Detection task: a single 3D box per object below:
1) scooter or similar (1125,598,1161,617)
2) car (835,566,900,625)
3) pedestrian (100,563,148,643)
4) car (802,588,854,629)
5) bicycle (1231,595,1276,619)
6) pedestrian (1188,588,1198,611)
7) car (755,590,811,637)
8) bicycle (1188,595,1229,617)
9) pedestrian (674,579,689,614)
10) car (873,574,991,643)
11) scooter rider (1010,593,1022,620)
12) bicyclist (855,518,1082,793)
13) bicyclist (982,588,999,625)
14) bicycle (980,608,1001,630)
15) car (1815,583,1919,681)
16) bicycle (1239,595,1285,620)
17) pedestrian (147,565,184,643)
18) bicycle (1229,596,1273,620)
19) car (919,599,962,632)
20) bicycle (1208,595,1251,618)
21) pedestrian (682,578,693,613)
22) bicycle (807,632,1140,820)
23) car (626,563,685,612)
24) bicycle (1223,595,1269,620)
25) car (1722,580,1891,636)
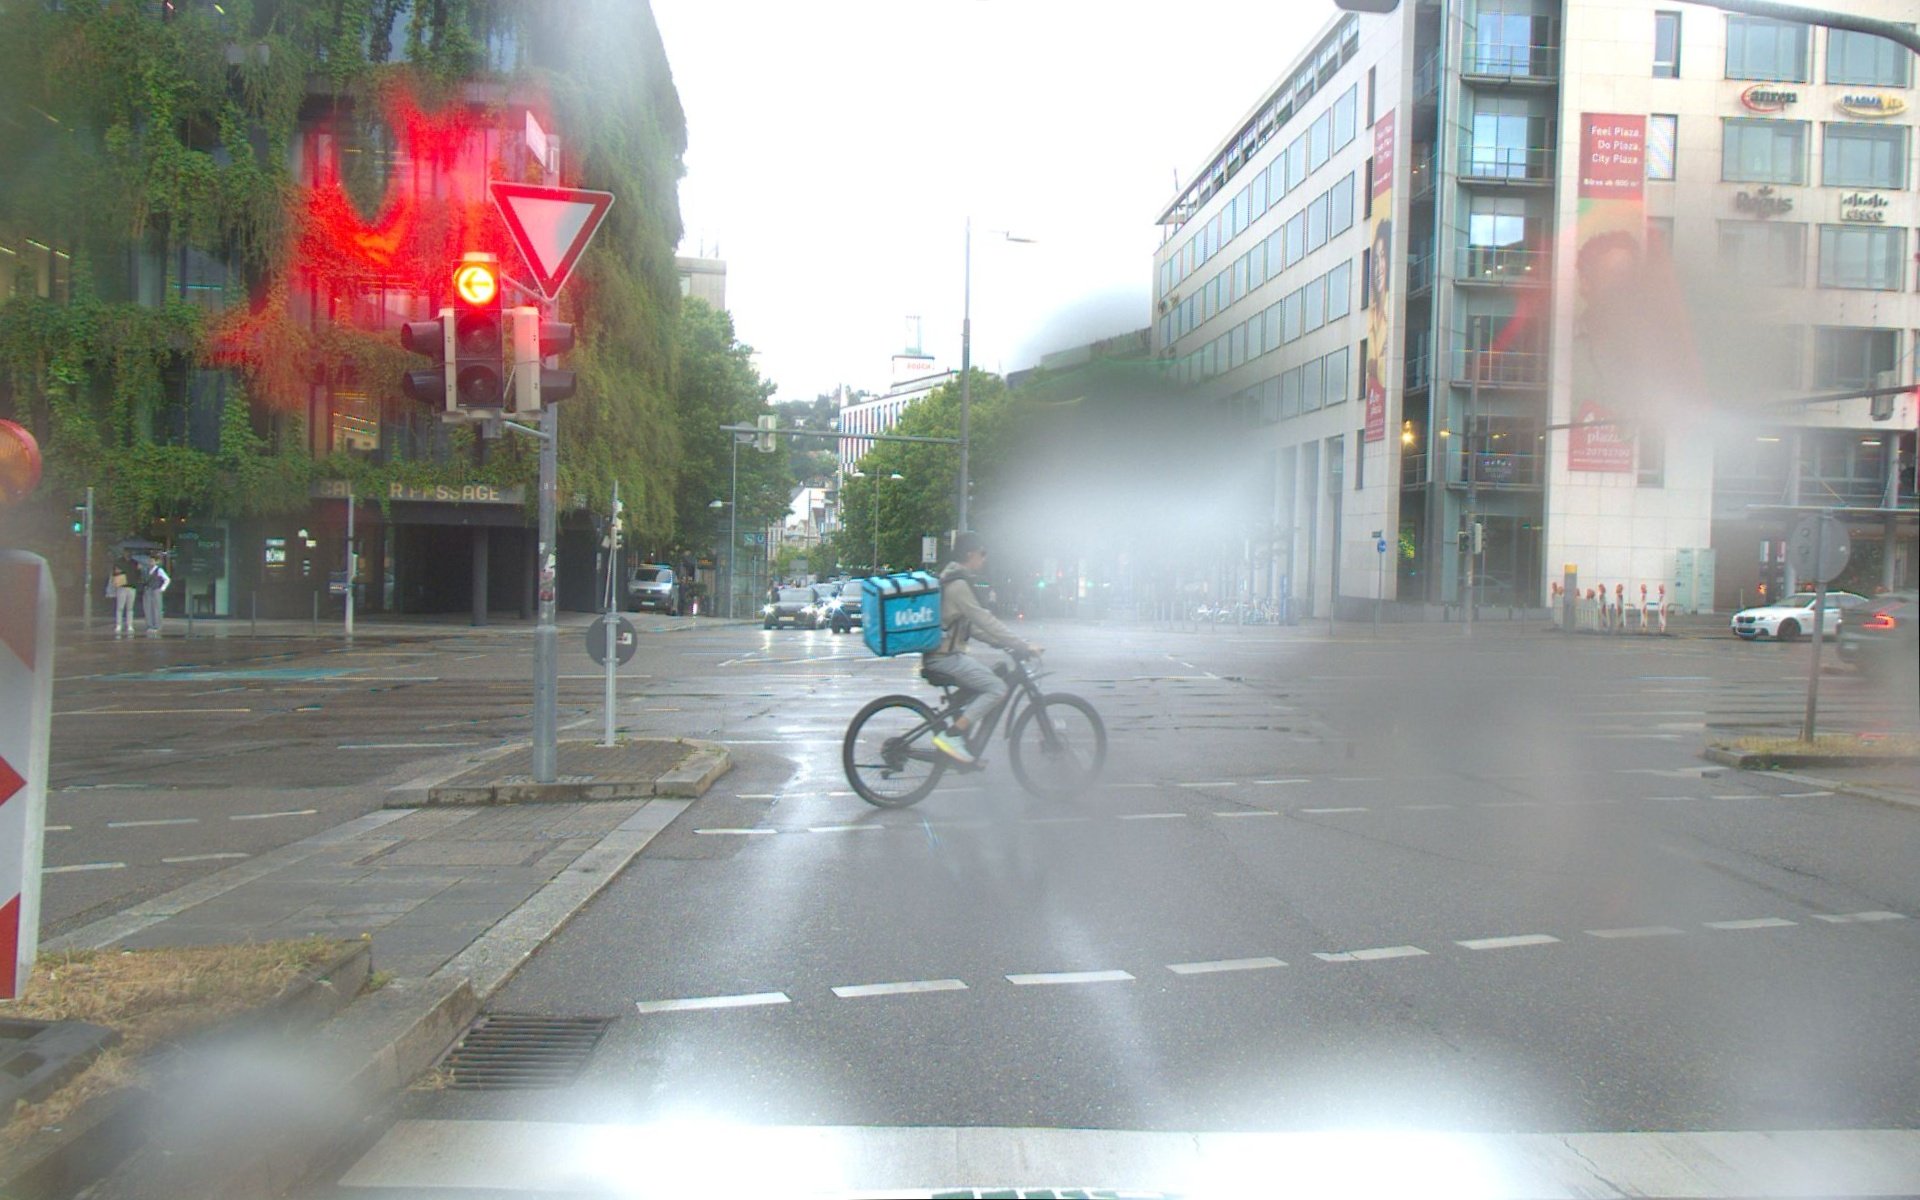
[{"bbox_3d":[8.849,0.366,80.052,1.720,0.894,0.486,0,0,-20],"label":"scooter or similar"},{"bbox_3d":[-2.870,-0.164,50.873,1.925,1.684,4.361,0,2,-4],"label":"car"},{"bbox_3d":[-19.225,0.062,38.066,0.923,1.788,1.163,0,0,-24],"label":"pedestrian"},{"bbox_3d":[-5.155,0.308,64.316,1.821,1.473,4.614,0,1,-7],"label":"car"},{"bbox_3d":[11.716,0.270,66.096,1.767,0.950,0.473,1,0,41],"label":"bicycle"},{"bbox_3d":[11.976,-0.016,85.049,0.347,1.194,0.413,0,0,-15],"label":"pedestrian"},{"bbox_3d":[-6.144,0.426,56.964,1.821,1.473,4.614,0,1,-7],"label":"car"},{"bbox_3d":[10.955,0.274,73.005,1.757,0.950,0.475,0,0,2],"label":"bicycle"},{"bbox_3d":[-12.410,-0.155,73.645,0.595,1.550,0.587,0,0,-5],"label":"pedestrian"},{"bbox_3d":[-0.749,0.154,40.678,1.960,1.512,4.448,0,2,-14],"label":"car"},{"bbox_3d":[3.772,0.415,111.576,0.746,1.805,0.796,0,0,5],"label":"scooter rider"},{"bbox_3d":[0.051,0.345,11.110,1.280,1.733,0.840,0,0,-29],"label":"bicyclist"},{"bbox_3d":[1.655,0.345,89.519,0.776,2.009,1.112,1,0,-7],"label":"bicyclist"},{"bbox_3d":[1.645,1.027,89.516,0.776,1.136,2.251,1,0,-8],"label":"bicycle"},{"bbox_3d":[17.019,0.520,27.627,4.444,1.577,2.002,1,0,7],"label":"car"},{"bbox_3d":[11.890,0.273,65.132,1.767,0.950,0.473,1,0,41],"label":"bicycle"},{"bbox_3d":[-18.463,0.084,38.426,0.731,1.788,0.969,0,0,-24],"label":"pedestrian"},{"bbox_3d":[11.741,0.306,66.841,1.767,0.950,0.473,1,0,41],"label":"bicycle"},{"bbox_3d":[-1.070,0.815,88.215,1.955,1.556,4.551,0,2,-5],"label":"car"},{"bbox_3d":[11.600,0.285,71.167,1.757,0.950,0.475,0,0,2],"label":"bicycle"},{"bbox_3d":[-12.196,-0.214,73.902,0.428,1.550,0.547,0,0,-5],"label":"pedestrian"},{"bbox_3d":[0.108,0.799,11.139,2.122,1.122,0.840,0,0,-30],"label":"bicycle"},{"bbox_3d":[-12.534,-0.530,68.208,1.955,1.928,4.460,0,0,-5],"label":"car"},{"bbox_3d":[11.143,0.273,64.479,1.767,0.950,0.473,1,0,41],"label":"bicycle"},{"bbox_3d":[25.465,0.228,49.769,4.378,1.626,1.992,0,0,-16],"label":"car"}]
